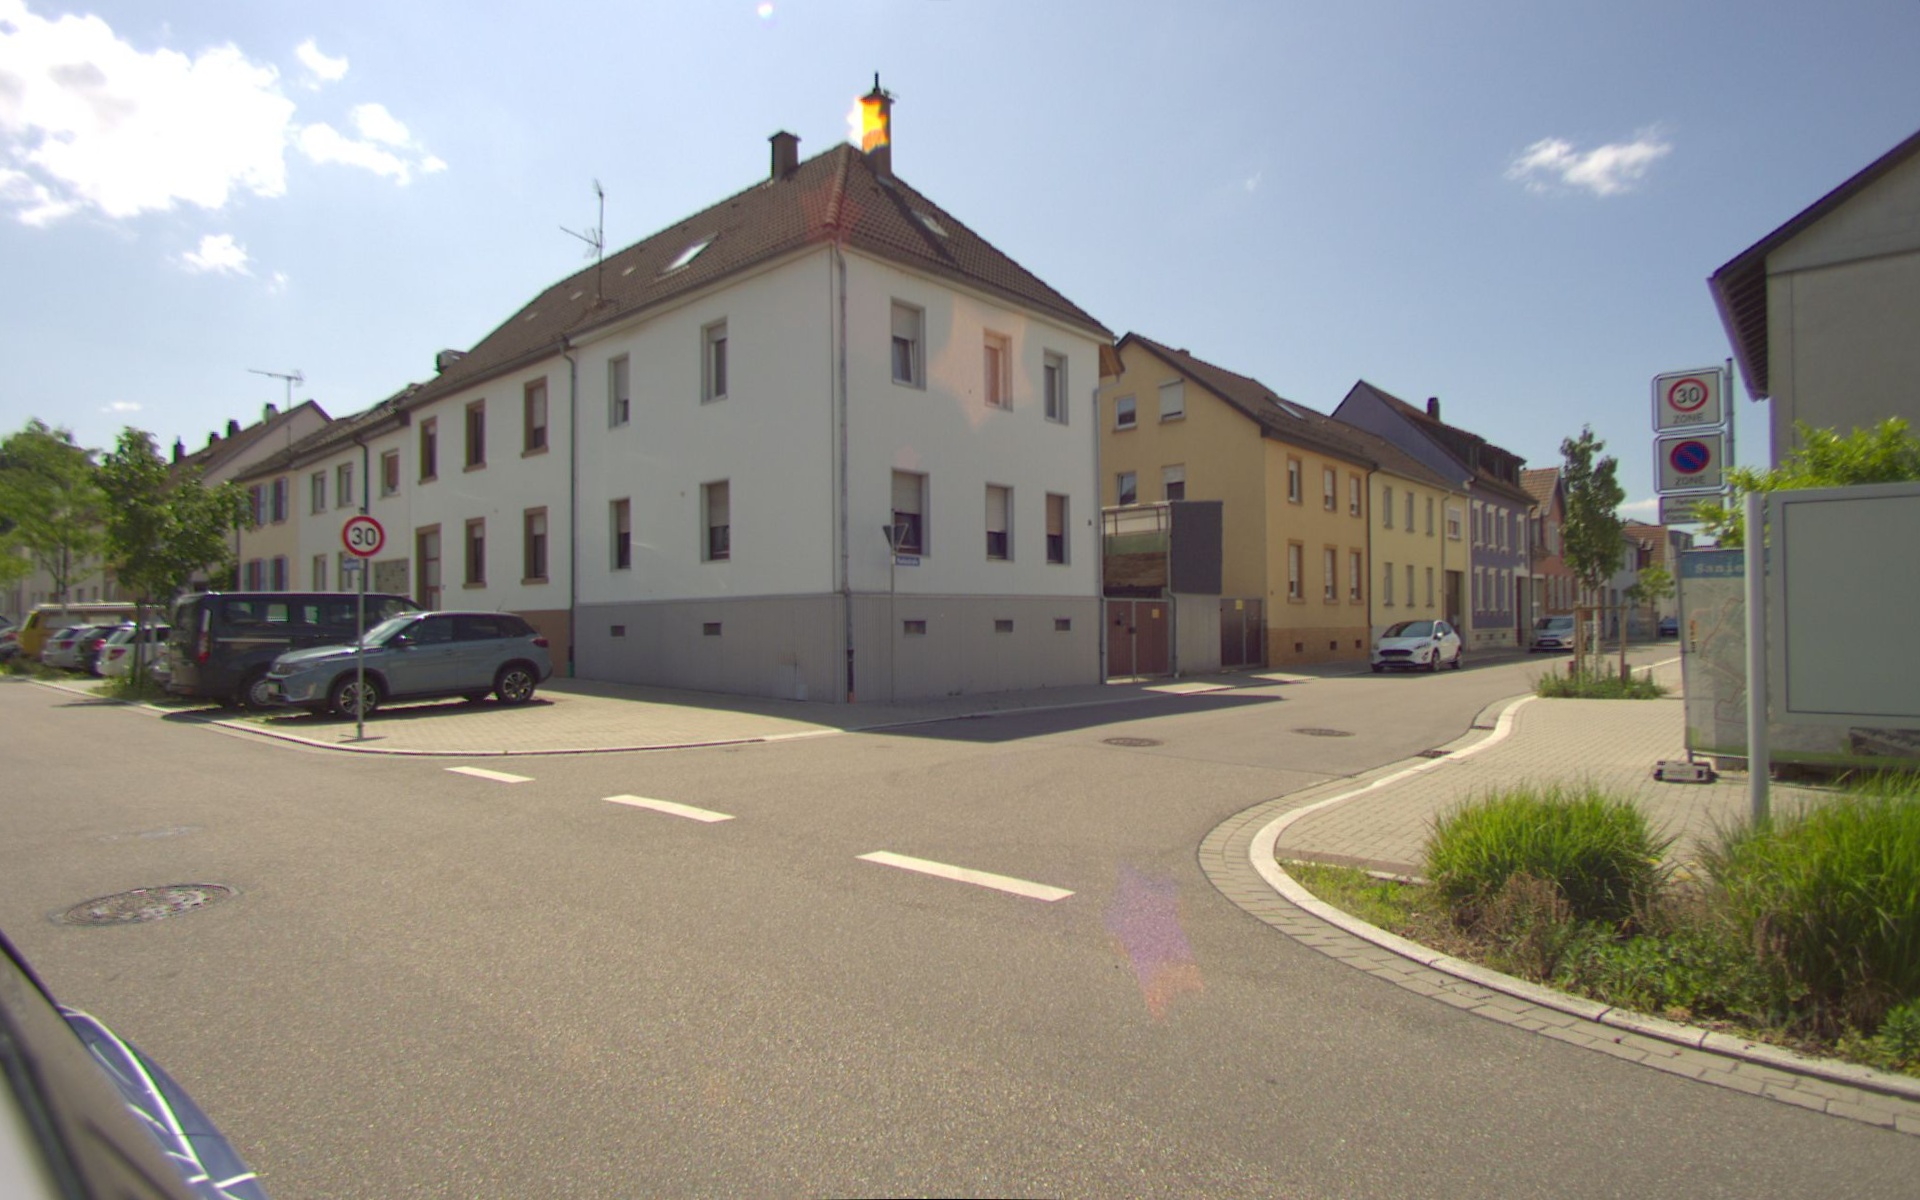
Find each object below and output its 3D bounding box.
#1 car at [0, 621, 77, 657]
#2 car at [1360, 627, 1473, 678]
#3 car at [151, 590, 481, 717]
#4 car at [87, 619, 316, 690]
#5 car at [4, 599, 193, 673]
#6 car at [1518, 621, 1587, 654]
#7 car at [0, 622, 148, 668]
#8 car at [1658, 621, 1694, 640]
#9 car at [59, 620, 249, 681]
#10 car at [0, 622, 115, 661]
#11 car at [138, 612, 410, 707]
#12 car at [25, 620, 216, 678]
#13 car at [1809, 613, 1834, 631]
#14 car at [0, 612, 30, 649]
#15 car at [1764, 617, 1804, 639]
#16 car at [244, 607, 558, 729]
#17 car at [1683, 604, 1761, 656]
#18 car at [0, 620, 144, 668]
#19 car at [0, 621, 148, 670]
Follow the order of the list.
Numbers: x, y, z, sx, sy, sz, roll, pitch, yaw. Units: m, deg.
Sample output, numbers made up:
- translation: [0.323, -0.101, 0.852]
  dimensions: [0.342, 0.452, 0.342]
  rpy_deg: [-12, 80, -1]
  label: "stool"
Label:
- translation: [-41.255, 1.691, 44.029]
  dimensions: [1.773, 1.489, 4.015]
  rpy_deg: [-1, 0, 38]
  label: "car"
- translation: [13.365, 1.508, 29.547]
  dimensions: [1.891, 1.313, 3.945]
  rpy_deg: [-3, -2, 41]
  label: "car"
- translation: [-11.433, 0.827, 18.262]
  dimensions: [1.936, 1.937, 4.653]
  rpy_deg: [-1, 1, 40]
  label: "car"
- translation: [-18.545, 1.267, 24.894]
  dimensions: [1.773, 1.479, 4.249]
  rpy_deg: [-1, 0, 42]
  label: "car"
- translation: [-28.089, 1.106, 33.108]
  dimensions: [1.924, 2.194, 4.463]
  rpy_deg: [-1, 0, 40]
  label: "car"
- translation: [26.452, 1.652, 45.112]
  dimensions: [1.891, 1.313, 3.945]
  rpy_deg: [-3, -2, 41]
  label: "car"
- translation: [-31.943, 1.580, 36.561]
  dimensions: [1.753, 1.470, 3.756]
  rpy_deg: [-1, 0, 38]
  label: "car"
- translation: [52.333, 2.223, 73.967]
  dimensions: [1.659, 1.313, 4.094]
  rpy_deg: [-3, -2, 41]
  label: "car"
- translation: [-22.432, 1.349, 28.311]
  dimensions: [1.653, 1.479, 3.850]
  rpy_deg: [-1, 0, 32]
  label: "car"
- translation: [-38.618, 1.744, 42.623]
  dimensions: [1.772, 1.489, 4.363]
  rpy_deg: [-1, 0, 36]
  label: "car"
- translation: [-13.532, 1.084, 20.186]
  dimensions: [1.771, 1.580, 4.145]
  rpy_deg: [-1, 1, 37]
  label: "car"
- translation: [-24.776, 1.395, 30.011]
  dimensions: [1.748, 1.479, 4.041]
  rpy_deg: [-1, 0, 32]
  label: "car"
- translation: [99.127, 2.502, 116.379]
  dimensions: [2.000, 1.836, 3.943]
  rpy_deg: [-1, 1, 43]
  label: "car"
- translation: [-53.538, 1.691, 54.749]
  dimensions: [1.952, 2.011, 4.564]
  rpy_deg: [-1, 0, 42]
  label: "car"
- translation: [57.276, 1.936, 70.312]
  dimensions: [1.891, 1.376, 3.945]
  rpy_deg: [-5, -3, 41]
  label: "car"
- translation: [-8.979, 0.980, 16.536]
  dimensions: [1.771, 1.631, 4.133]
  rpy_deg: [-1, 1, 40]
  label: "car"
- translation: [28.007, 1.086, 37.171]
  dimensions: [1.891, 1.742, 3.945]
  rpy_deg: [-5, -3, 41]
  label: "car"
- translation: [-33.871, 1.607, 38.426]
  dimensions: [1.841, 1.623, 4.211]
  rpy_deg: [-1, 0, 39]
  label: "car"
- translation: [-30.142, 1.493, 34.189]
  dimensions: [1.754, 1.470, 3.969]
  rpy_deg: [-1, 0, 40]
  label: "car"
